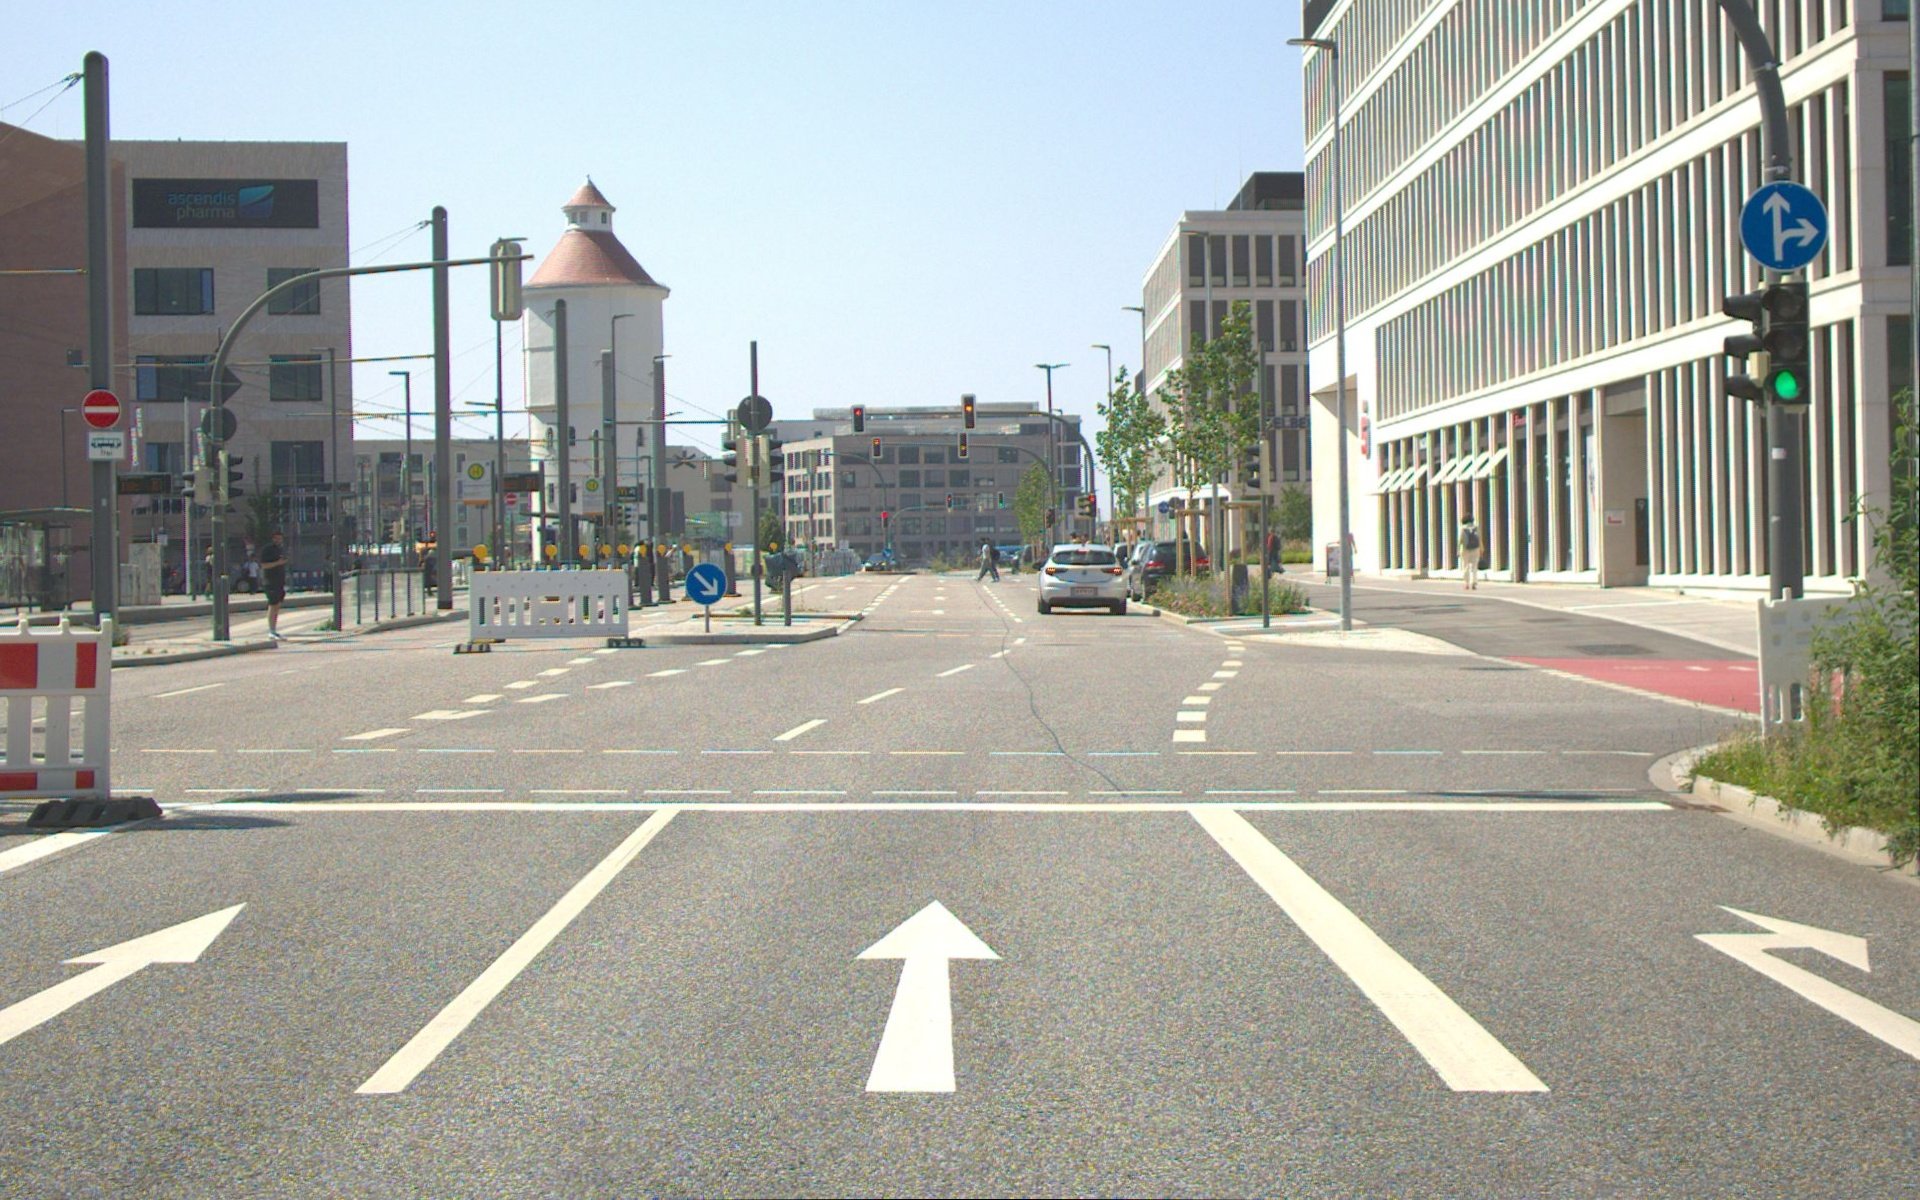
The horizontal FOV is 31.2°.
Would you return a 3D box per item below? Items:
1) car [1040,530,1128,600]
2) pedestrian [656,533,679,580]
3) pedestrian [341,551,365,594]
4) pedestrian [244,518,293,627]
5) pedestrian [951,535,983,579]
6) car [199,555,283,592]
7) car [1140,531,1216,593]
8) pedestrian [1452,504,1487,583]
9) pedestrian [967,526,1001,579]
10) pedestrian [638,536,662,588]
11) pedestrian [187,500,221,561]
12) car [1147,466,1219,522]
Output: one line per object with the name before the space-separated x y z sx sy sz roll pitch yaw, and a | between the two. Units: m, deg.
car | 2.559 -0.712 71.407 1.771 1.390 3.531 1 0 2
pedestrian | -11.000 -1.634 129.343 0.766 1.728 0.692 -1 1 1
pedestrian | -22.513 -1.036 127.462 0.711 1.566 0.891 -1 1 -1
pedestrian | -11.625 -0.470 57.788 0.653 1.827 0.661 0 1 4
pedestrian | 0.266 -1.637 131.510 0.893 1.668 1.013 -1 1 -18
car | -34.776 -1.280 166.359 3.940 1.809 1.799 0 0 -12
car | 5.343 -0.923 83.951 1.737 1.469 3.979 0 1 5
pedestrian | 11.352 -1.258 76.608 0.627 1.736 0.814 -1 1 0
pedestrian | 0.913 -1.842 132.889 1.020 2.007 0.955 -1 1 -18
pedestrian | -11.391 -1.410 126.300 0.766 1.884 0.692 -1 1 1
pedestrian | -22.383 -2.059 101.742 0.811 1.813 0.825 0 1 0
car | 5.770 -2.730 89.251 1.605 1.383 3.815 1 1 0
